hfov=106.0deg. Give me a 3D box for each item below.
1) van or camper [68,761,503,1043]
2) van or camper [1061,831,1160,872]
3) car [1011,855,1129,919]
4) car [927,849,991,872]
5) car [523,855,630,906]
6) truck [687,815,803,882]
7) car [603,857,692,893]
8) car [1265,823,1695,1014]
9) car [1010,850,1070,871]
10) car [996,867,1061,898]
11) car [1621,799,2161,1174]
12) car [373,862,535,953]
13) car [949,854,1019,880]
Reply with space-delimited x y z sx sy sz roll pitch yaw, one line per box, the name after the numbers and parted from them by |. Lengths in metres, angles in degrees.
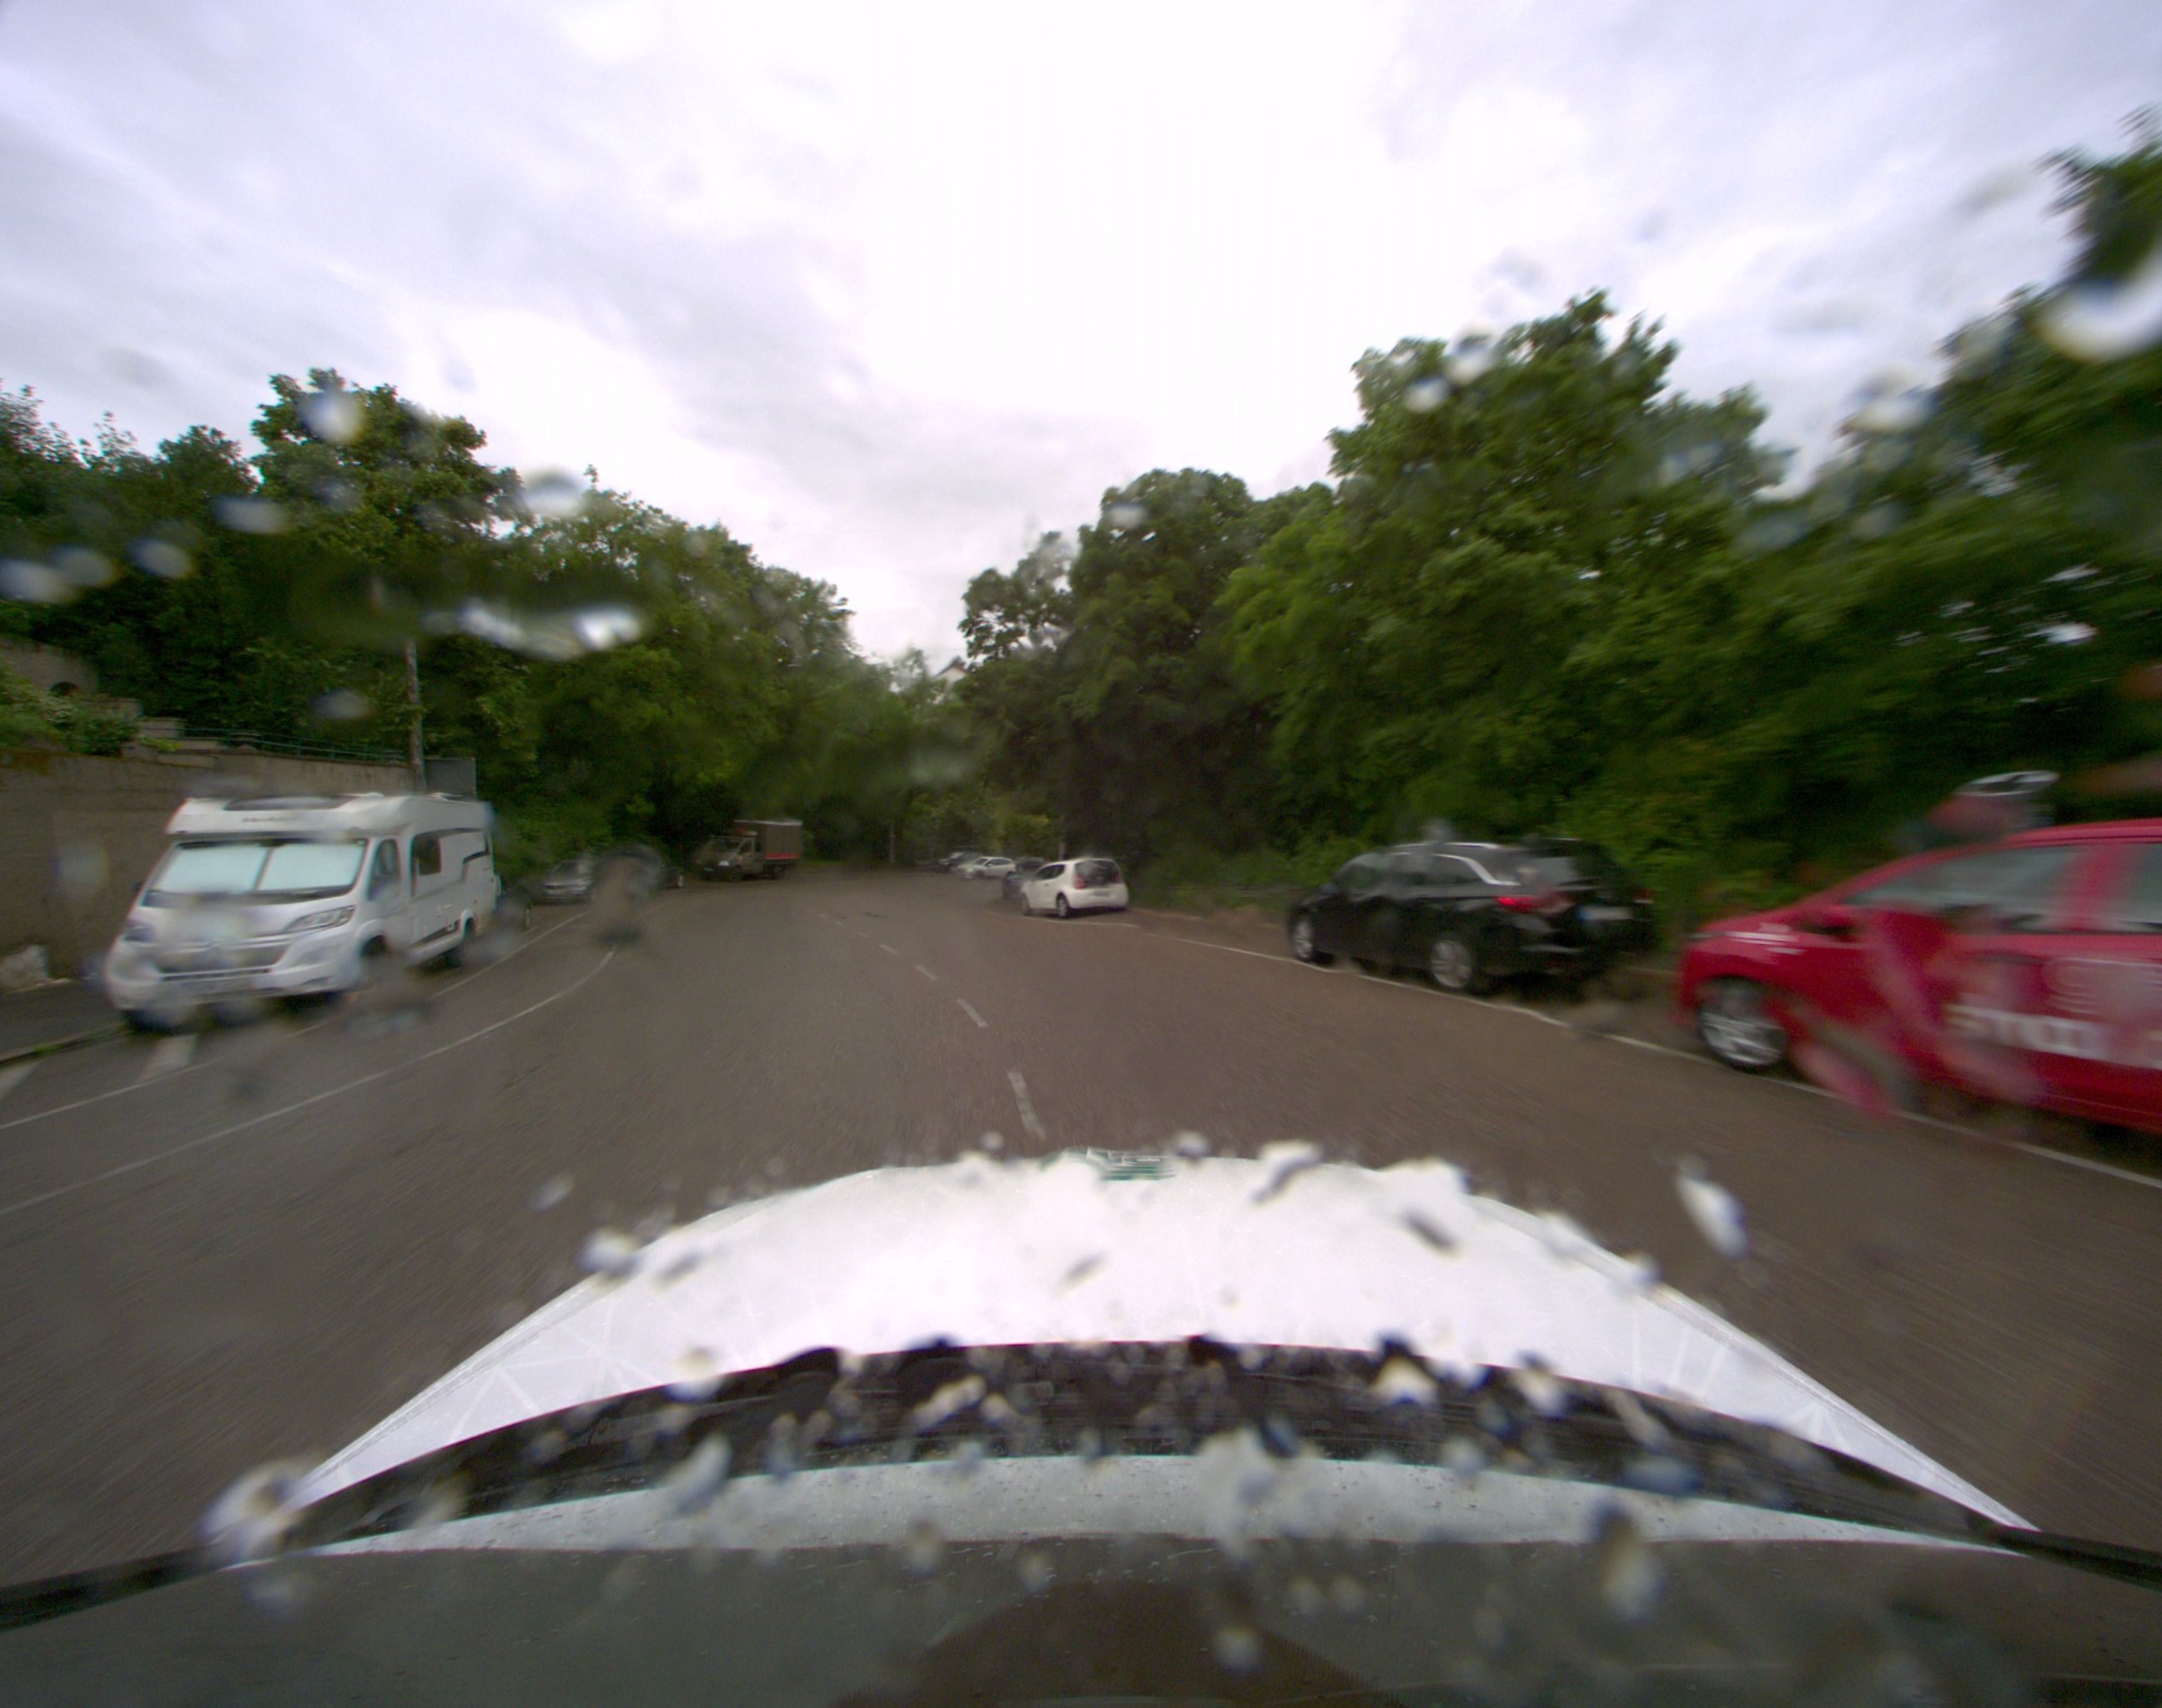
-10.399 0.407 11.649 2.166 2.788 6.991 -3 2 -25 | van or camper
2.420 -0.191 66.423 7.665 2.931 2.187 1 5 -21 | van or camper
-0.371 0.809 20.967 1.593 1.502 3.634 0 -1 -27 | car
-8.823 0.440 58.999 1.763 1.464 4.338 7 5 44 | car
-17.047 0.825 27.776 1.701 1.498 4.510 1 1 -13 | car
-17.165 -0.294 42.141 2.020 3.102 6.634 3 1 11 | truck
-17.816 0.815 33.678 1.697 1.275 4.239 1 1 -5 | car
3.949 0.529 9.123 1.721 1.513 4.572 -2 0 -15 | car
-3.212 0.522 63.617 4.326 1.355 1.743 2 4 -31 | car
-2.809 1.530 44.518 1.634 1.464 4.056 6 1 26 | car
4.961 0.499 4.129 1.559 1.513 3.661 -2 1 -11 | car
-13.072 1.004 17.277 1.796 1.498 4.335 -2 2 -25 | car
-6.372 0.867 53.827 1.782 1.570 4.481 2 0 45 | car
